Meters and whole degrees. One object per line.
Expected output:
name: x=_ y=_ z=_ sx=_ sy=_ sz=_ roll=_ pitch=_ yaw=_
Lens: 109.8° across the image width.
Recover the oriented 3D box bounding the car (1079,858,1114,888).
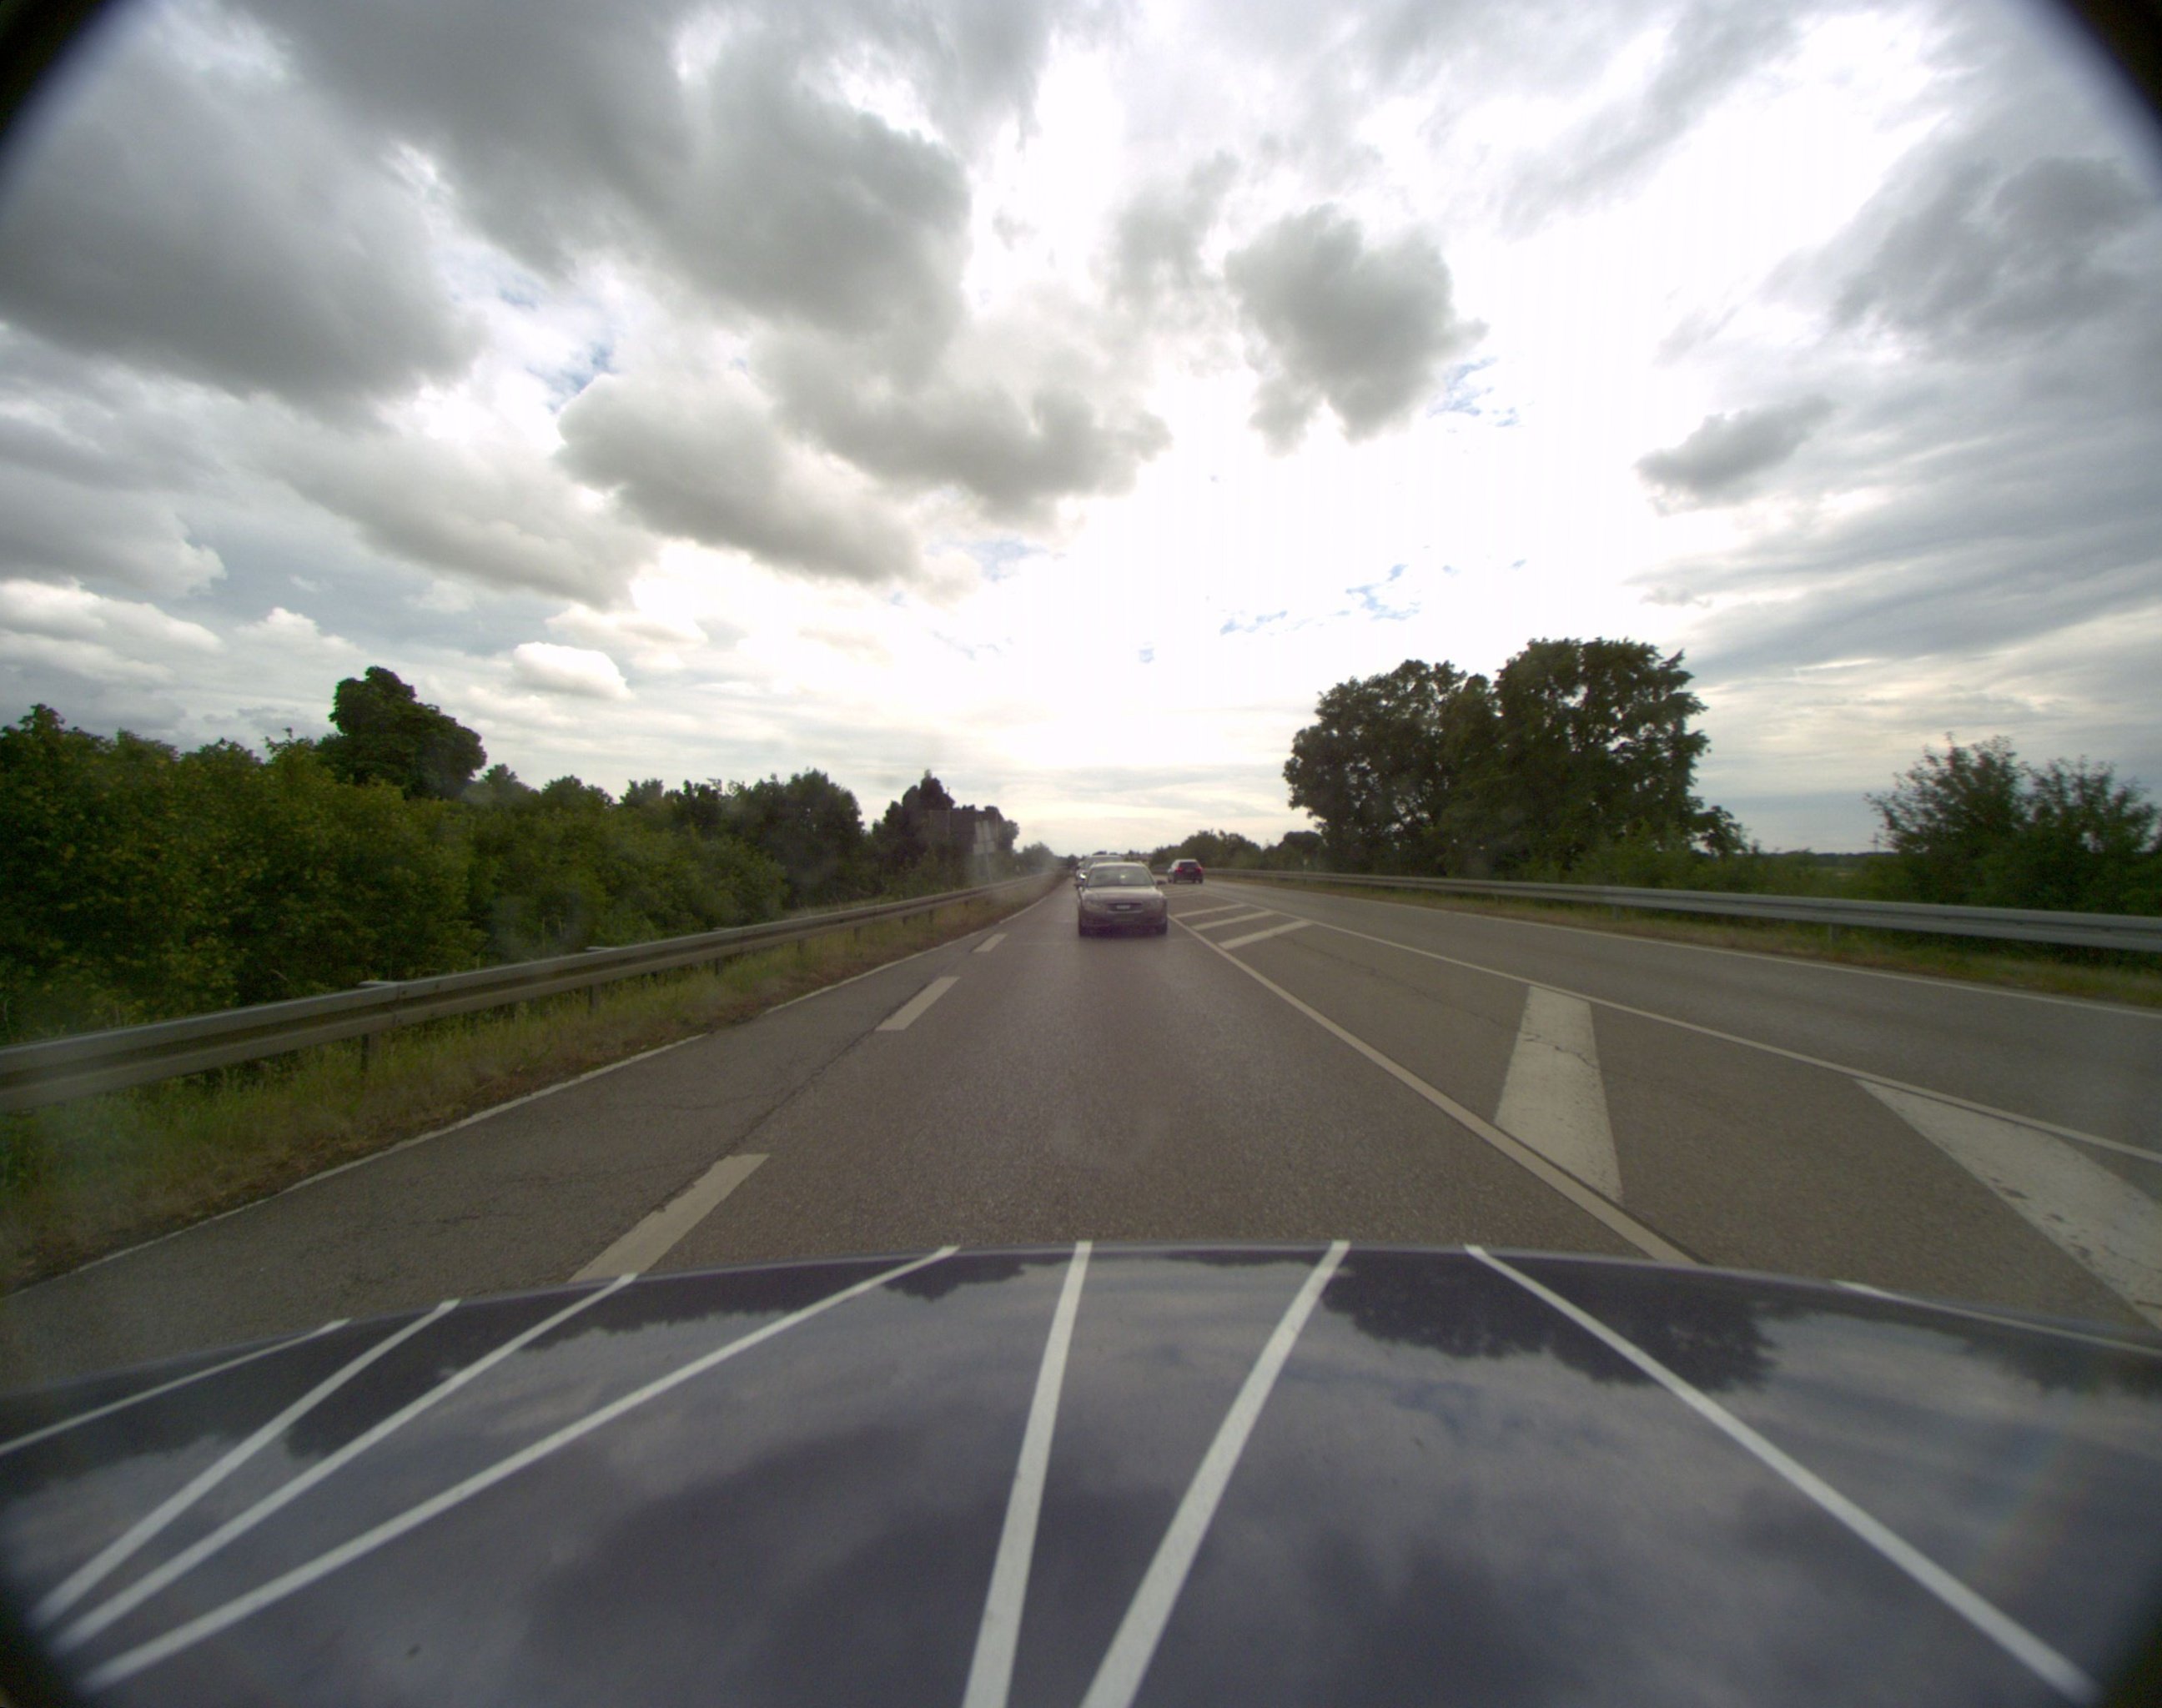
car: x=0.845 y=0.990 z=42.091 sx=1.834 sy=1.537 sz=4.035 roll=-1 pitch=0 yaw=1

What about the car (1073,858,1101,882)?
car: x=0.434 y=1.102 z=53.078 sx=1.834 sy=1.537 sz=4.035 roll=-1 pitch=0 yaw=1

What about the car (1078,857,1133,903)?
car: x=0.877 y=0.895 z=28.154 sx=1.834 sy=1.537 sz=4.035 roll=-1 pitch=0 yaw=1

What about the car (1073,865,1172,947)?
car: x=0.794 y=0.987 z=15.999 sx=1.784 sy=1.441 sz=4.035 roll=-1 pitch=0 yaw=1

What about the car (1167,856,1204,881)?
car: x=6.446 y=0.891 z=47.390 sx=1.675 sy=1.421 sz=4.257 roll=-1 pitch=0 yaw=0
